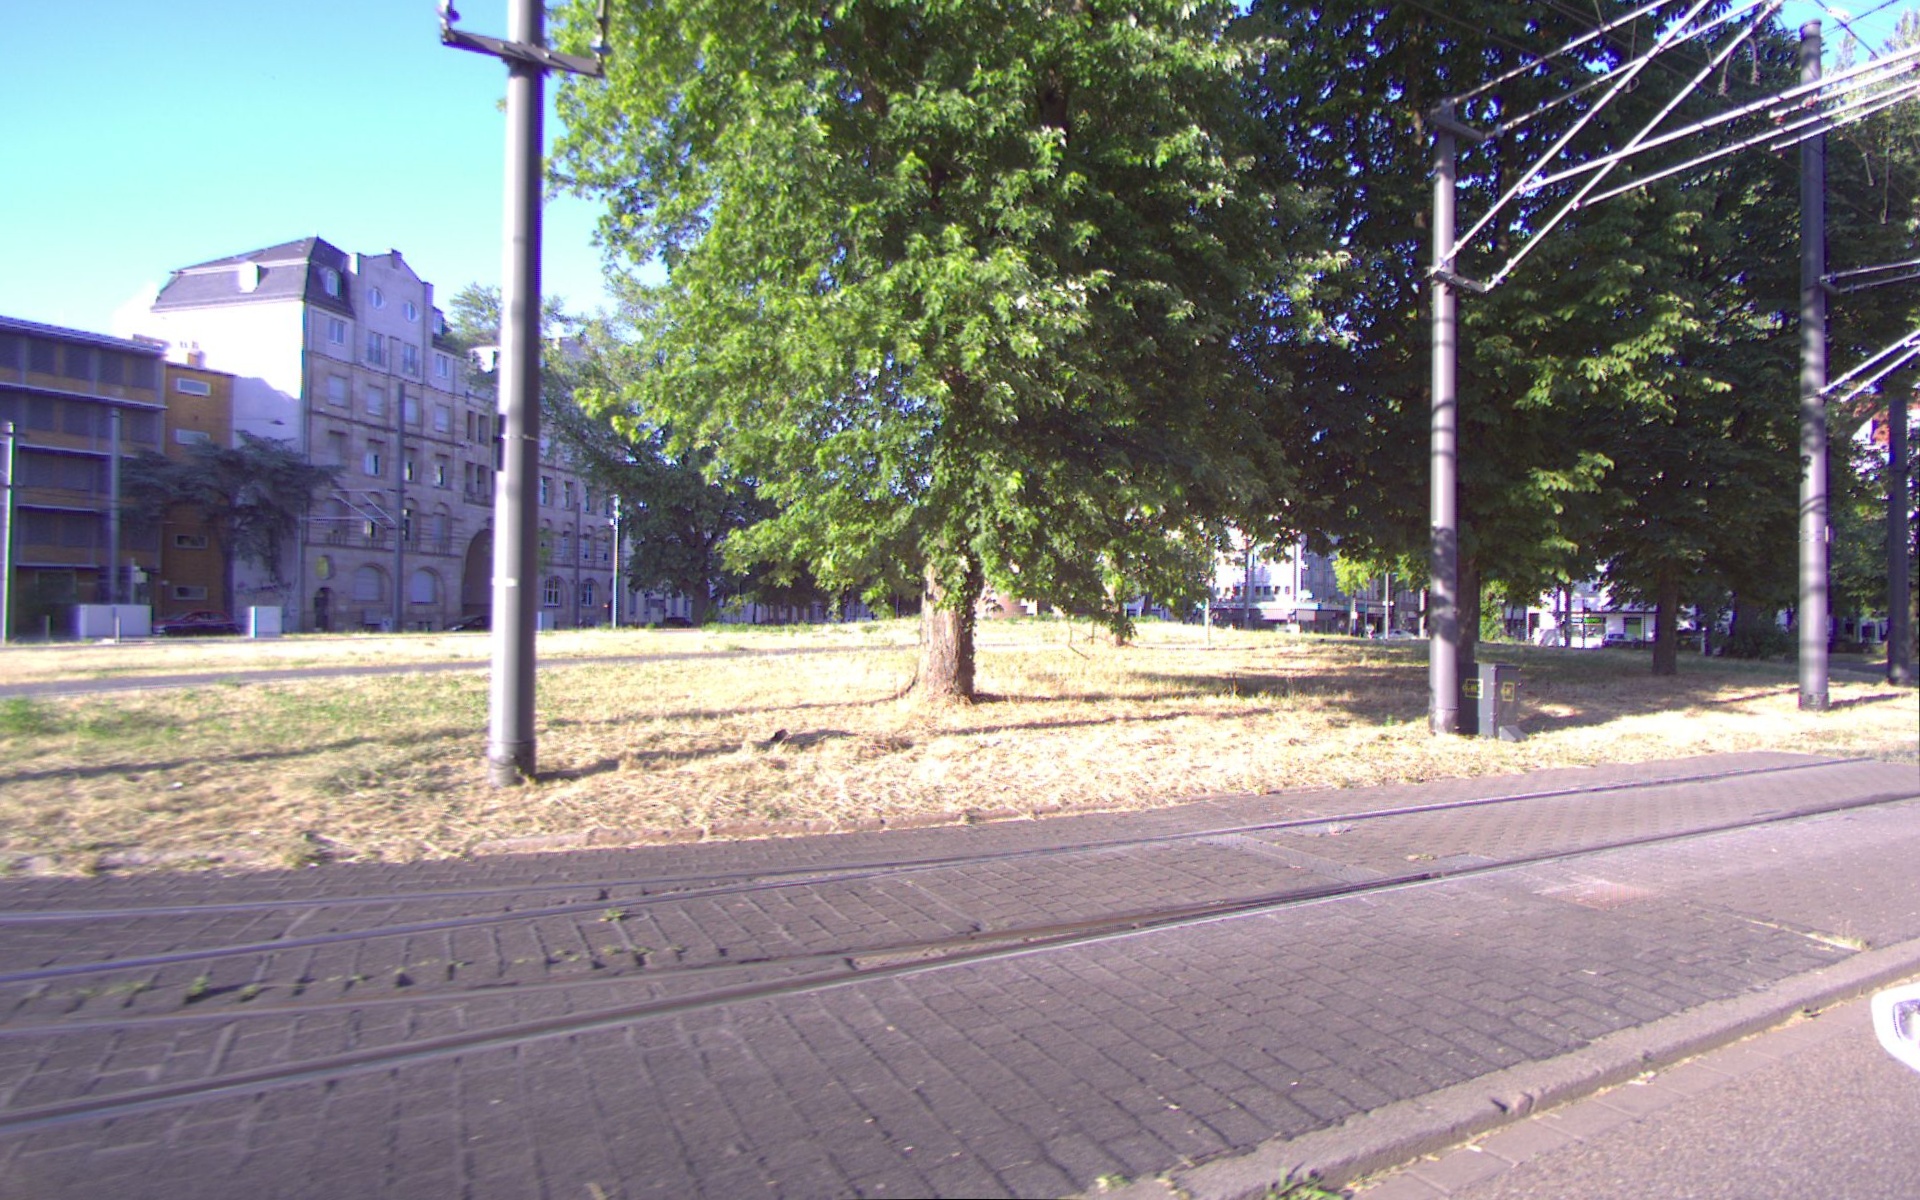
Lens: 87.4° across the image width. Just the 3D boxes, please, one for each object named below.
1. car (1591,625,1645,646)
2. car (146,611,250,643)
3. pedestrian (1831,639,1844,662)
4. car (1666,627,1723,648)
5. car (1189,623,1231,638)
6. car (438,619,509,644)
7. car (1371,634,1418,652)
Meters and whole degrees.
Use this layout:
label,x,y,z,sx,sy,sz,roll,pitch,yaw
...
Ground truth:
label,x,y,z,sx,sy,sz,roll,pitch,yaw
car,53.568,2.899,81.798,3.569,1.572,1.655,1,-1,39
car,-35.119,1.228,46.397,1.526,1.372,3.516,1,0,28
pedestrian,57.476,3.318,65.801,0.653,1.517,0.530,2,-1,-36
car,57.438,2.905,78.555,3.569,1.572,1.655,1,-1,39
car,27.274,3.318,109.646,3.937,1.483,1.992,1,-1,38
car,-28.667,1.816,59.267,1.526,1.372,3.516,1,0,28
car,40.516,3.985,93.727,3.874,1.482,1.593,1,-1,16
